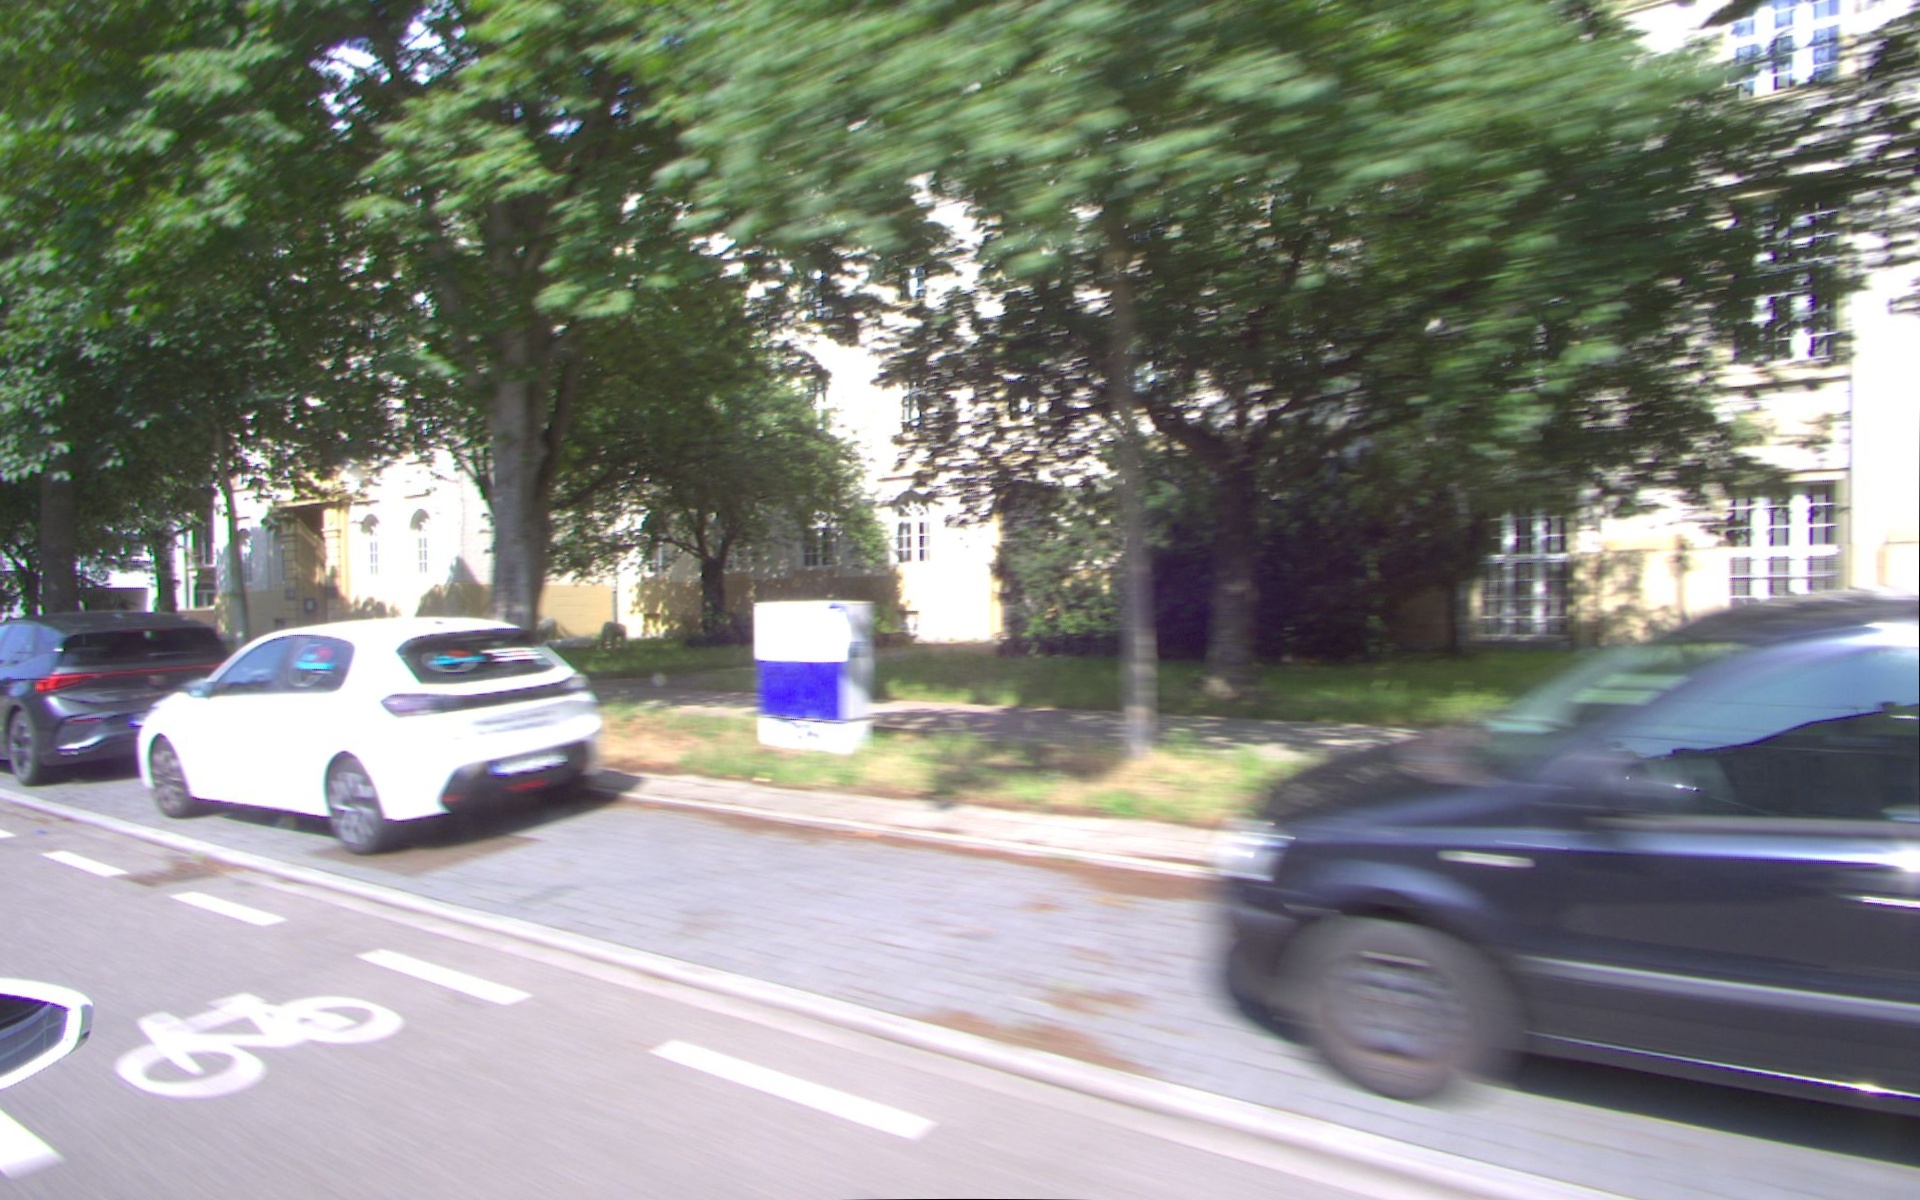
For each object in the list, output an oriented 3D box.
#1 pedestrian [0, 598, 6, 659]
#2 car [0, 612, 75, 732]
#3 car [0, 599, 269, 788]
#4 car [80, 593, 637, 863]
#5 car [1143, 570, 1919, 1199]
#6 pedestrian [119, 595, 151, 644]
[{"bbox_3d":[-27.447,0.815,28.136,0.756,1.719,0.742,0,1,33],"label":"pedestrian"},{"bbox_3d":[-13.576,0.951,13.425,3.546,1.464,1.586,-1,2,32],"label":"car"},{"bbox_3d":[-9.420,0.829,10.658,4.610,1.605,1.720,-1,1,33],"label":"car"},{"bbox_3d":[-4.721,0.786,7.765,4.189,1.544,1.832,-1,2,30],"label":"car"},{"bbox_3d":[2.523,0.700,3.103,3.505,1.481,1.552,-2,3,30],"label":"car"},{"bbox_3d":[-27.435,0.636,33.289,0.532,1.617,0.630,-1,1,29],"label":"pedestrian"}]
